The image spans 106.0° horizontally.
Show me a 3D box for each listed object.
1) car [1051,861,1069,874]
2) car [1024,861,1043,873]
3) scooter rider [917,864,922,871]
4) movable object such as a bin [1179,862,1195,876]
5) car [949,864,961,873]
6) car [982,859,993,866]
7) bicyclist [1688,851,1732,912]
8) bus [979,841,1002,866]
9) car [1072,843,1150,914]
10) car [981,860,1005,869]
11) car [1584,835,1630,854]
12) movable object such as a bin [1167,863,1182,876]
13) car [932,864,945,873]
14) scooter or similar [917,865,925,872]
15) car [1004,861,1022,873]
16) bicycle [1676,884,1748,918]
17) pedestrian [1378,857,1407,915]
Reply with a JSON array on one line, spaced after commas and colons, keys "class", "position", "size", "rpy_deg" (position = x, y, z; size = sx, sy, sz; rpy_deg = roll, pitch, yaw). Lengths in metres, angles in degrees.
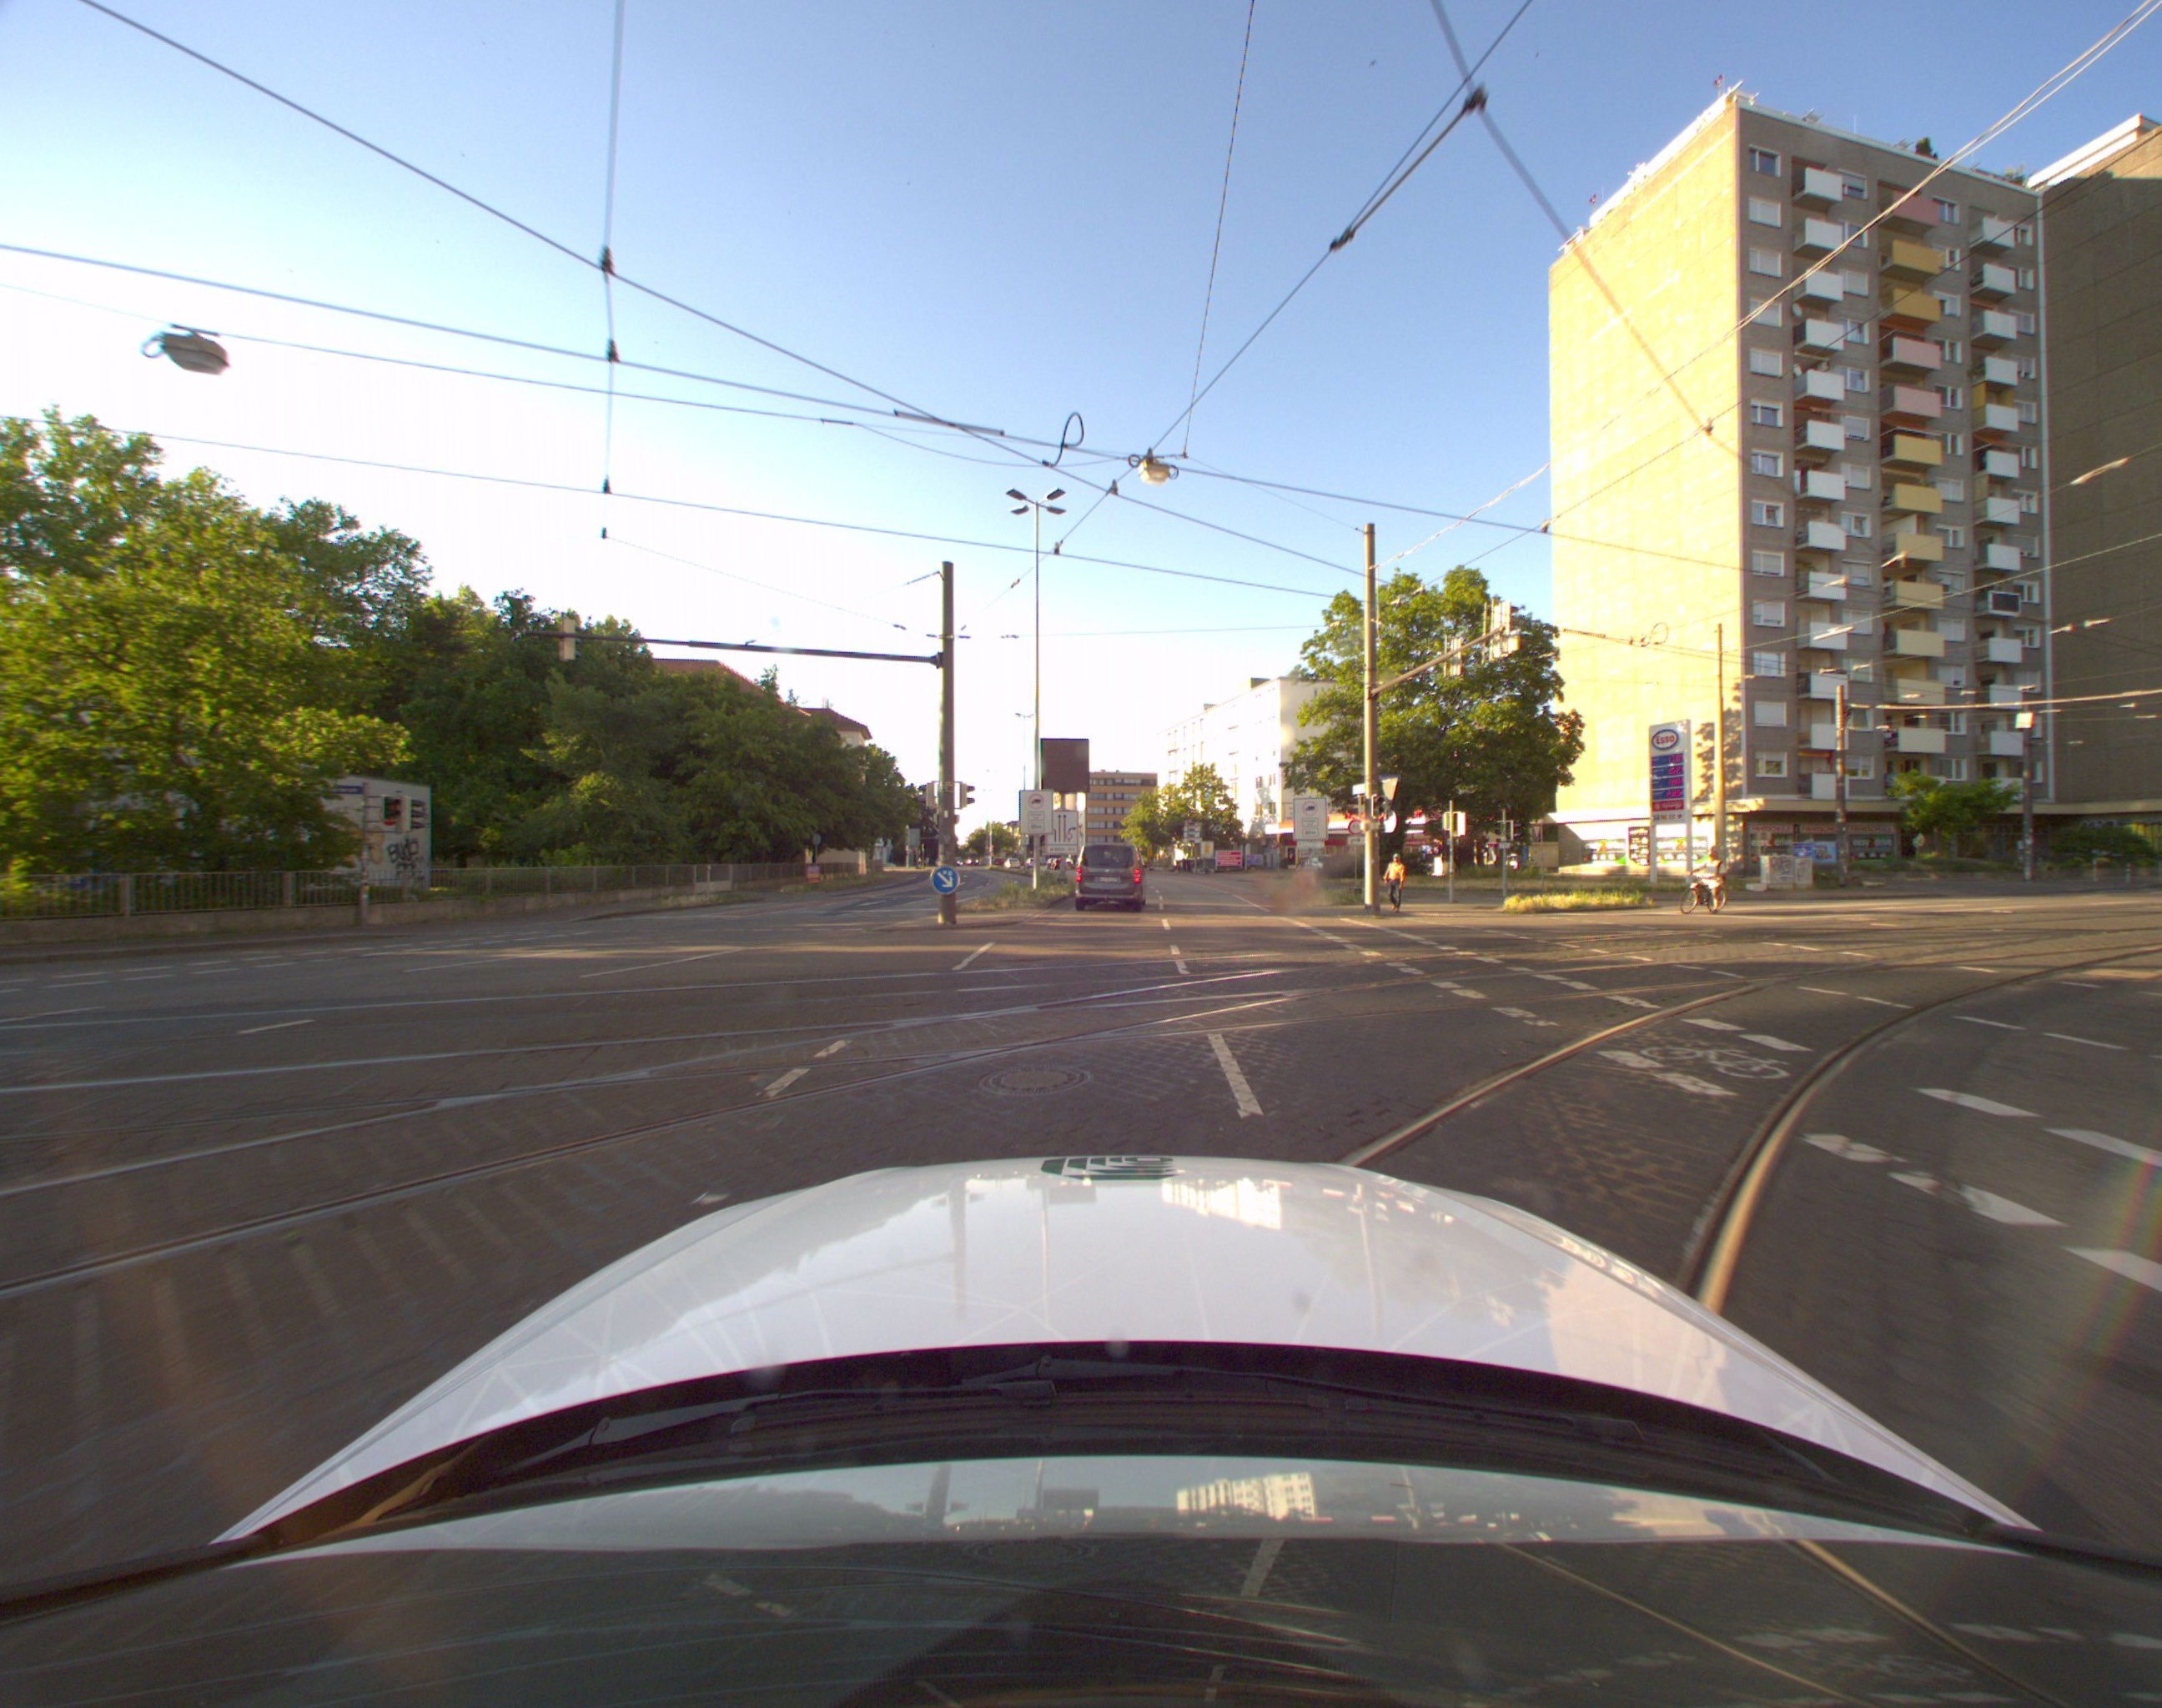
[{"class": "car", "position": [-2.795, 1.767, 108.908], "size": [1.992, 1.656, 4.287], "rpy_deg": [0, -1, -8]}, {"class": "car", "position": [-6.615, 1.817, 113.361], "size": [1.995, 1.656, 4.281], "rpy_deg": [0, -1, -12]}, {"class": "scooter rider", "position": [-23.326, 1.990, 117.621], "size": [0.511, 1.036, 0.443], "rpy_deg": [2, -1, -20]}, {"class": "movable object such as a bin", "position": [11.155, 1.592, 85.811], "size": [1.458, 1.454, 1.546], "rpy_deg": [0, -1, -1]}, {"class": "car", "position": [-24.470, 2.805, 158.478], "size": [1.989, 1.595, 3.996], "rpy_deg": [0, 0, -3]}, {"class": "car", "position": [-21.283, 1.938, 185.185], "size": [1.851, 1.708, 3.707], "rpy_deg": [0, 0, -14]}, {"class": "bicyclist", "position": [16.753, 0.716, 21.682], "size": [0.695, 1.583, 0.633], "rpy_deg": [0, -1, -19]}, {"class": "bus", "position": [-17.194, -0.053, 153.783], "size": [3.293, 4.617, 9.956], "rpy_deg": [1, -1, -12]}, {"class": "car", "position": [0.994, 0.692, 24.229], "size": [1.983, 1.901, 4.306], "rpy_deg": [1, -1, 6]}, {"class": "car", "position": [-15.681, 1.794, 145.154], "size": [4.004, 1.595, 1.985], "rpy_deg": [0, -1, -23]}, {"class": "car", "position": [58.456, -1.009, 90.527], "size": [1.997, 2.014, 3.980], "rpy_deg": [0, -1, -15]}, {"class": "movable object such as a bin", "position": [10.213, 1.660, 89.144], "size": [1.458, 1.386, 1.546], "rpy_deg": [0, -1, -1]}, {"class": "car", "position": [-27.461, 2.752, 157.489], "size": [1.989, 1.595, 3.996], "rpy_deg": [0, 0, -3]}, {"class": "scooter or similar", "position": [-23.111, 2.105, 117.690], "size": [1.102, 0.976, 0.555], "rpy_deg": [2, -1, -20]}, {"class": "car", "position": [-9.435, 1.747, 112.240], "size": [1.995, 1.656, 4.281], "rpy_deg": [0, -1, -12]}, {"class": "bicycle", "position": [16.811, 1.235, 21.694], "size": [1.815, 0.829, 0.618], "rpy_deg": [0, -1, -19]}, {"class": "pedestrian", "position": [9.006, 0.917, 23.562], "size": [0.550, 1.629, 0.699], "rpy_deg": [0, -1, 0]}]
